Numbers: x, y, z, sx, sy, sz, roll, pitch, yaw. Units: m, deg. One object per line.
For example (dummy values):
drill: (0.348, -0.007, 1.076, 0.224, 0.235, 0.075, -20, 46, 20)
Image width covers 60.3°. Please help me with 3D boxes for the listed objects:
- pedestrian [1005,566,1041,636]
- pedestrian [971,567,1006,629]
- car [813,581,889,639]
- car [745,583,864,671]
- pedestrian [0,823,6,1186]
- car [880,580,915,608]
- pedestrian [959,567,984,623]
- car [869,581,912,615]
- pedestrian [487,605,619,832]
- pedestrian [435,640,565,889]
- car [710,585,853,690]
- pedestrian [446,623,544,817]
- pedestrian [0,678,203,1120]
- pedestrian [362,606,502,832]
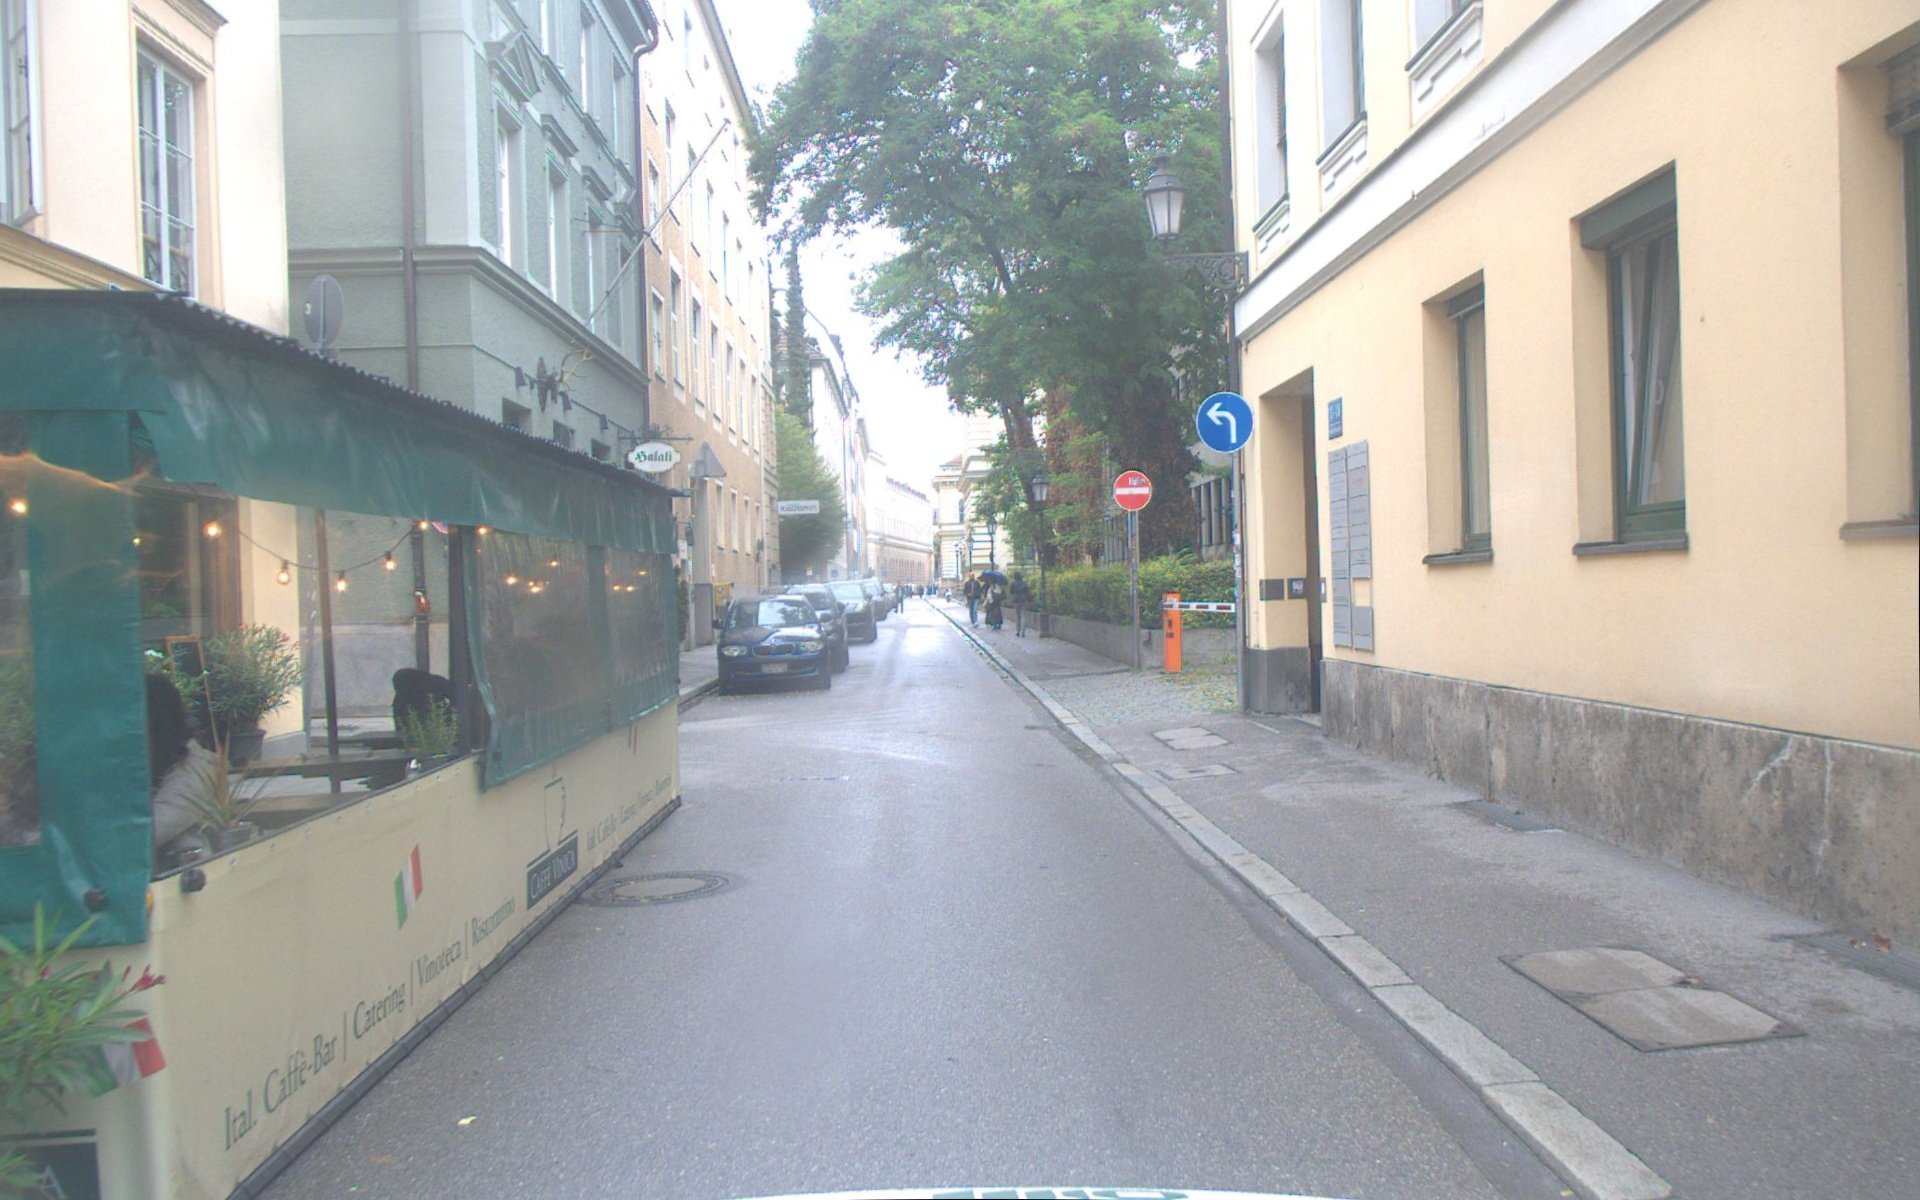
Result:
pedestrian: (1.662, 0.023, 43.797, 0.862, 1.833, 1.046, -1, 0, -1)
pedestrian: (0.864, -0.059, 50.223, 0.995, 1.833, 1.349, -1, 0, -1)
car: (-2.937, 0.240, 45.114, 1.742, 1.492, 3.542, -1, 1, 1)
car: (-2.766, 0.447, 30.160, 1.742, 1.492, 3.542, -1, 1, 1)
pedestrian: (-2.724, 0.847, 3.969, 0.499, 1.350, 0.630, -1, 0, -3)
car: (-3.493, -0.363, 93.435, 1.742, 1.492, 3.542, -1, 1, 1)
pedestrian: (0.377, -0.176, 54.465, 0.777, 1.833, 0.903, -1, 0, -1)
car: (-3.123, -0.110, 74.842, 1.742, 1.492, 3.542, -1, 1, 1)
pedestrian: (-2.527, 0.715, 10.324, 0.660, 1.350, 0.696, -1, 0, -4)
pedestrian: (-2.336, 0.815, 8.453, 0.499, 1.196, 0.630, -1, 0, -3)
car: (-2.708, 0.531, 25.777, 1.742, 1.492, 3.663, -1, 1, 1)
pedestrian: (-3.158, 0.799, 11.271, 0.499, 1.259, 0.630, -1, 0, -3)
pedestrian: (-2.678, 0.861, 4.993, 0.499, 1.208, 0.630, -1, 0, -3)
pedestrian: (-3.300, 0.724, 10.386, 0.660, 1.350, 0.696, -1, 0, -4)
